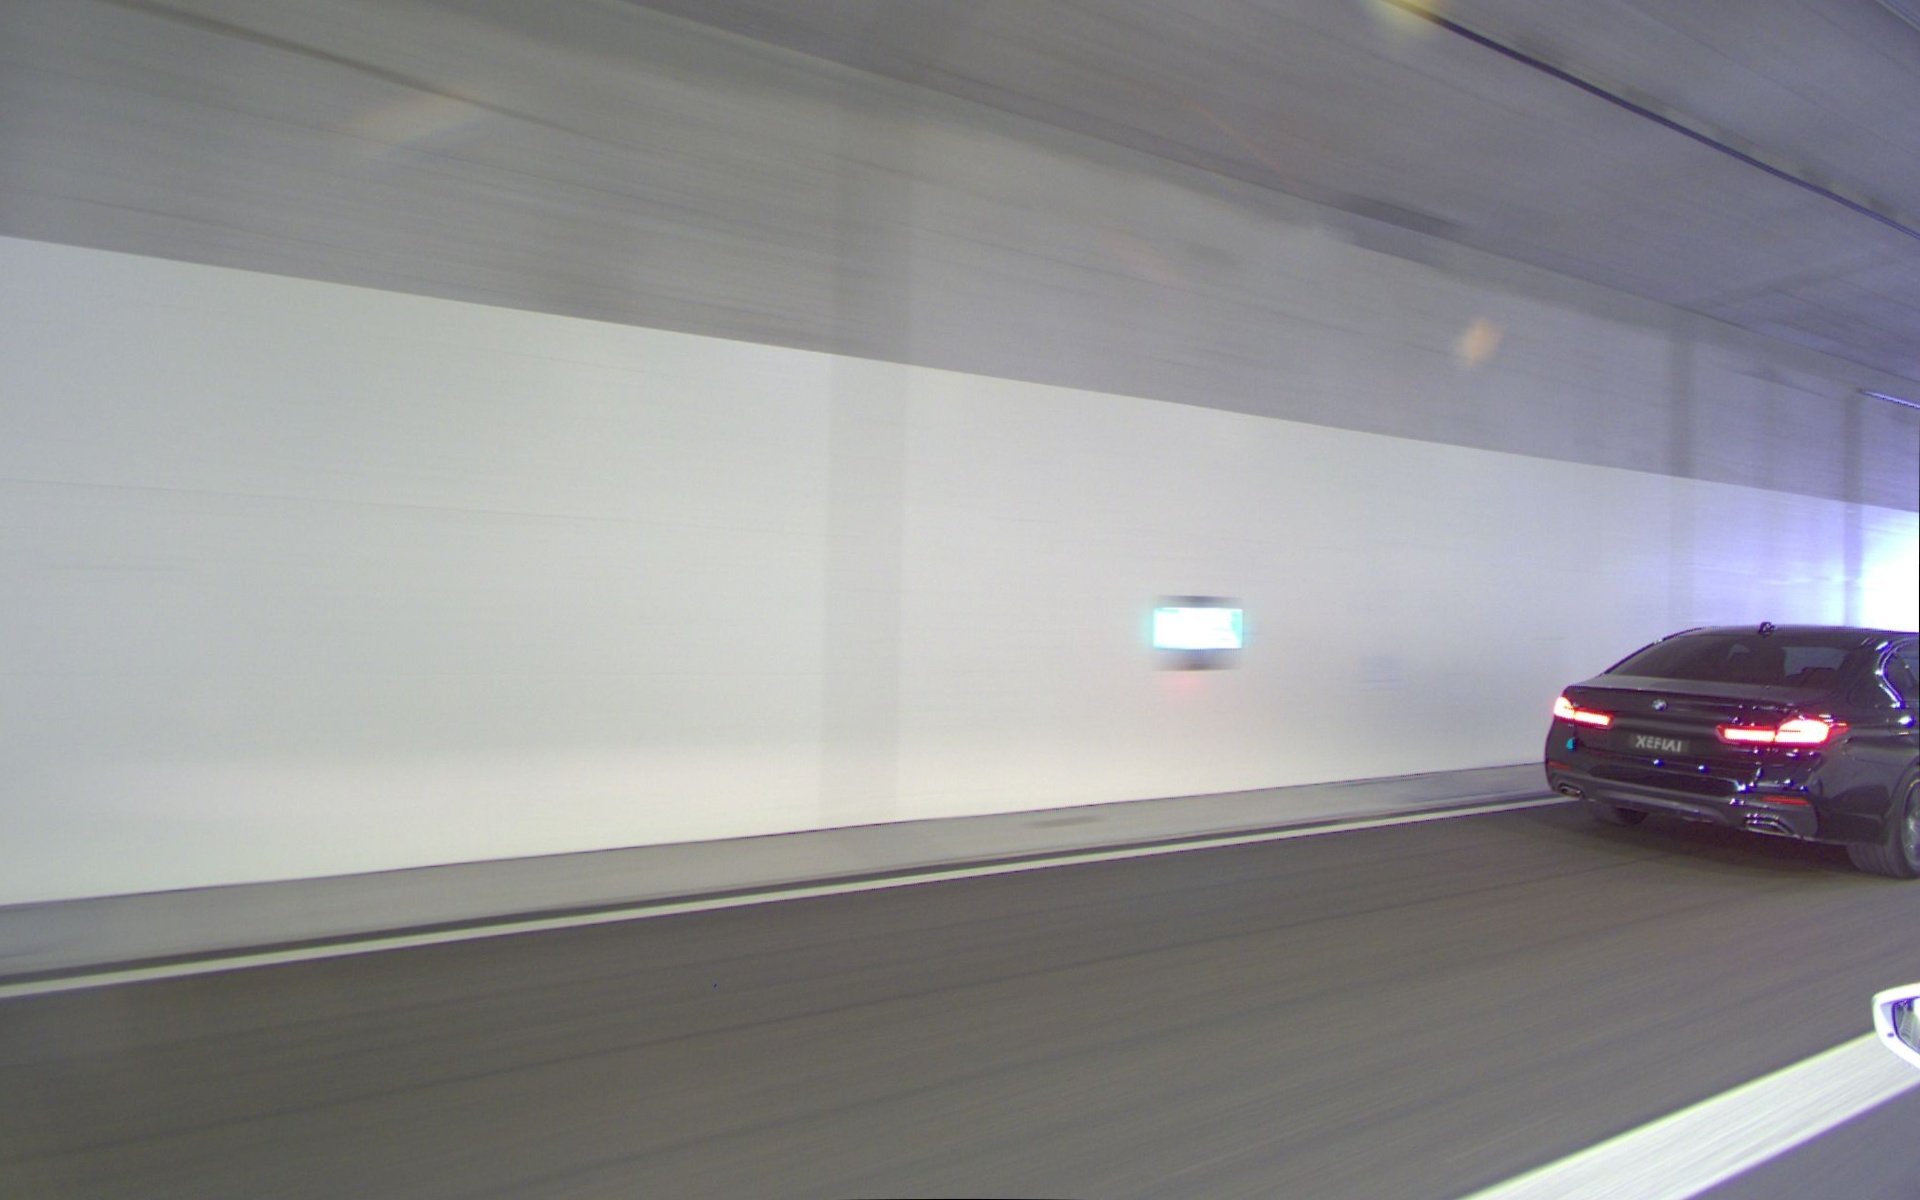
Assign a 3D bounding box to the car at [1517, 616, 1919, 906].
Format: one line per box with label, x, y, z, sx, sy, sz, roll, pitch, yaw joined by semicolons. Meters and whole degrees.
car;6.291;0.919;7.158;4.790;1.441;1.689;2;2;-28
